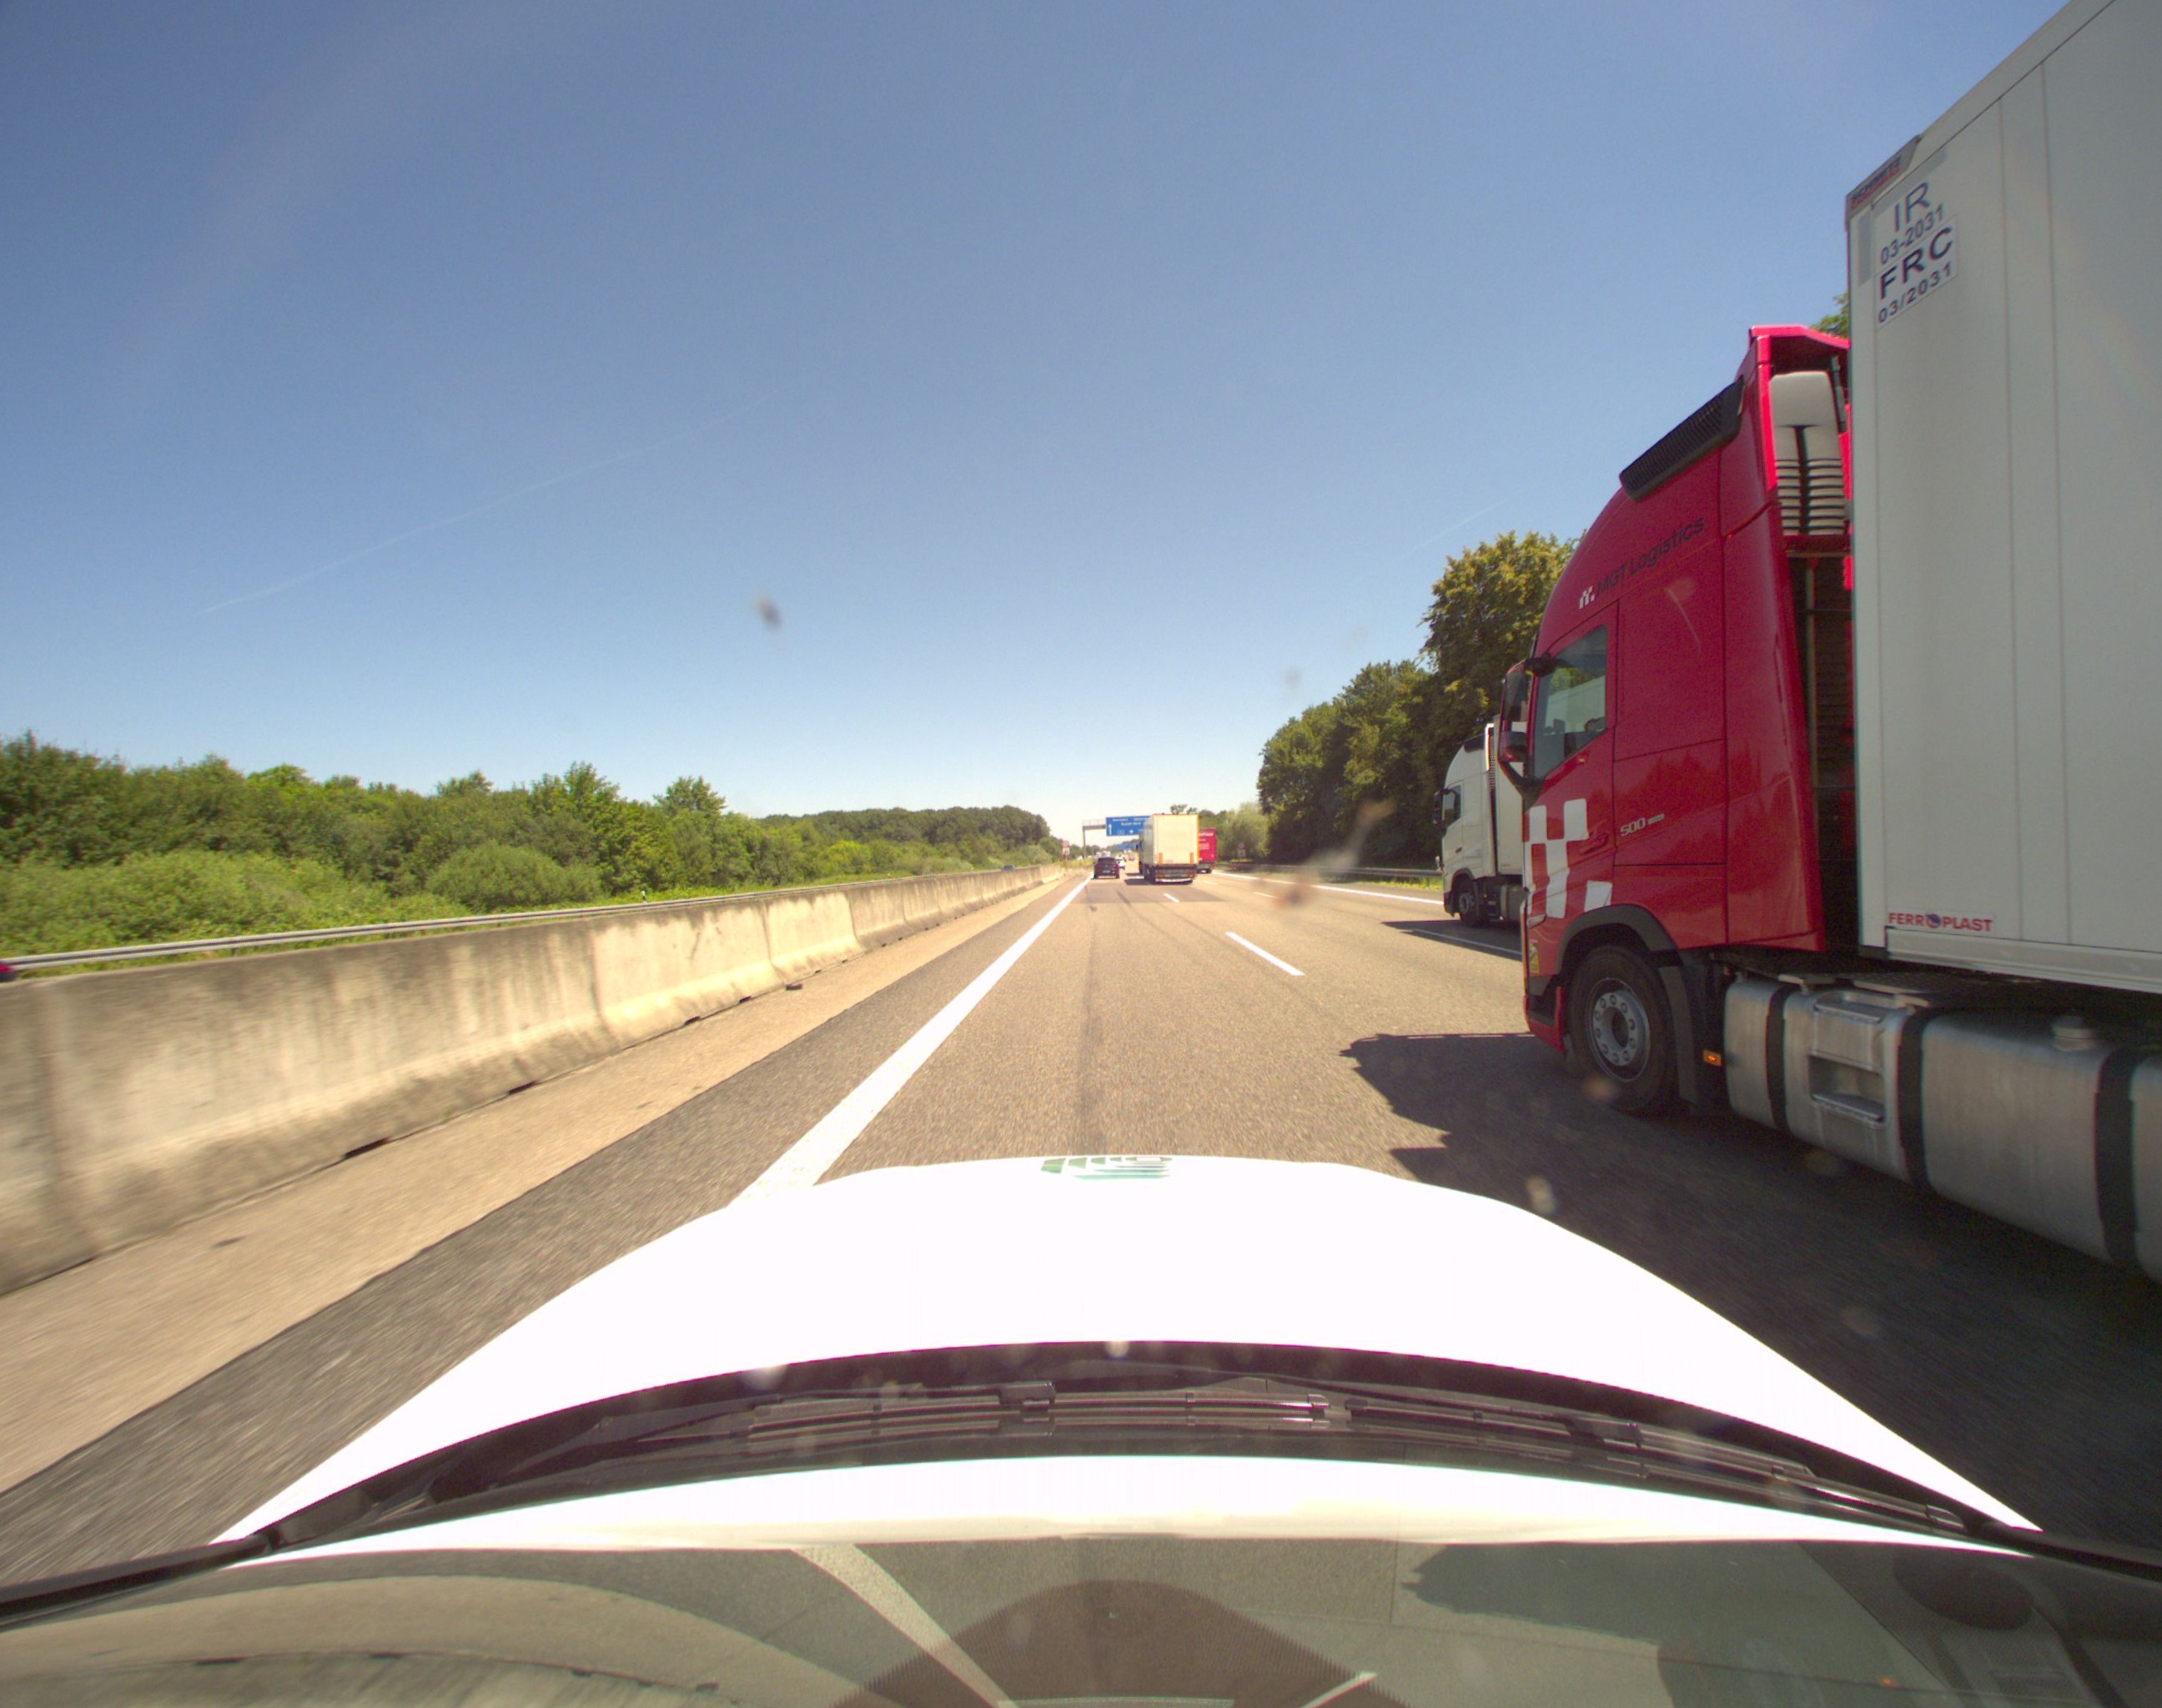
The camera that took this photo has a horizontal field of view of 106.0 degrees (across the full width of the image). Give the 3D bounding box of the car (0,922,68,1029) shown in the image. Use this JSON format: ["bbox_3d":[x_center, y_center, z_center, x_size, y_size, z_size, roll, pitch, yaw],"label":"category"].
[{"bbox_3d":[-16.580,1.836,10.065,1.901,1.479,4.827,-4,0,2],"label":"car"}]

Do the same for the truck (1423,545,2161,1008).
[{"bbox_3d":[8.960,-0.651,12.741,3.013,4.092,10.984,-1,-1,3],"label":"truck"}]

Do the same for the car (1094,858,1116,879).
[{"bbox_3d":[1.881,1.108,63.136,1.654,1.549,3.784,0,0,1],"label":"car"}]

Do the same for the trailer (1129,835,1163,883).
[{"bbox_3d":[5.986,0.499,77.324,2.697,4.068,14.755,-1,-1,3],"label":"trailer"}]

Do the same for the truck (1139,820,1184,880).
[{"bbox_3d":[5.746,-0.263,58.766,2.789,4.007,6.023,-1,0,2],"label":"truck"}]

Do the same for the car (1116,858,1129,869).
[{"bbox_3d":[5.630,1.298,110.531,1.733,1.486,4.003,-1,0,3],"label":"car"}]

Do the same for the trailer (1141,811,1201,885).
[{"bbox_3d":[5.448,-0.313,51.370,2.784,4.035,12.573,-1,0,2],"label":"trailer"}]

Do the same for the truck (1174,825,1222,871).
[{"bbox_3d":[11.319,-0.454,80.085,3.044,4.106,13.221,-1,-1,1],"label":"truck"}]

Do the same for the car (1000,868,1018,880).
[{"bbox_3d":[-9.518,2.616,107.938,1.763,1.471,4.002,-3,-1,2],"label":"car"}]

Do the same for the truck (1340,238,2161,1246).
[{"bbox_3d":[4.396,-0.446,6.276,2.930,3.986,6.103,-1,-1,1],"label":"truck"}]
